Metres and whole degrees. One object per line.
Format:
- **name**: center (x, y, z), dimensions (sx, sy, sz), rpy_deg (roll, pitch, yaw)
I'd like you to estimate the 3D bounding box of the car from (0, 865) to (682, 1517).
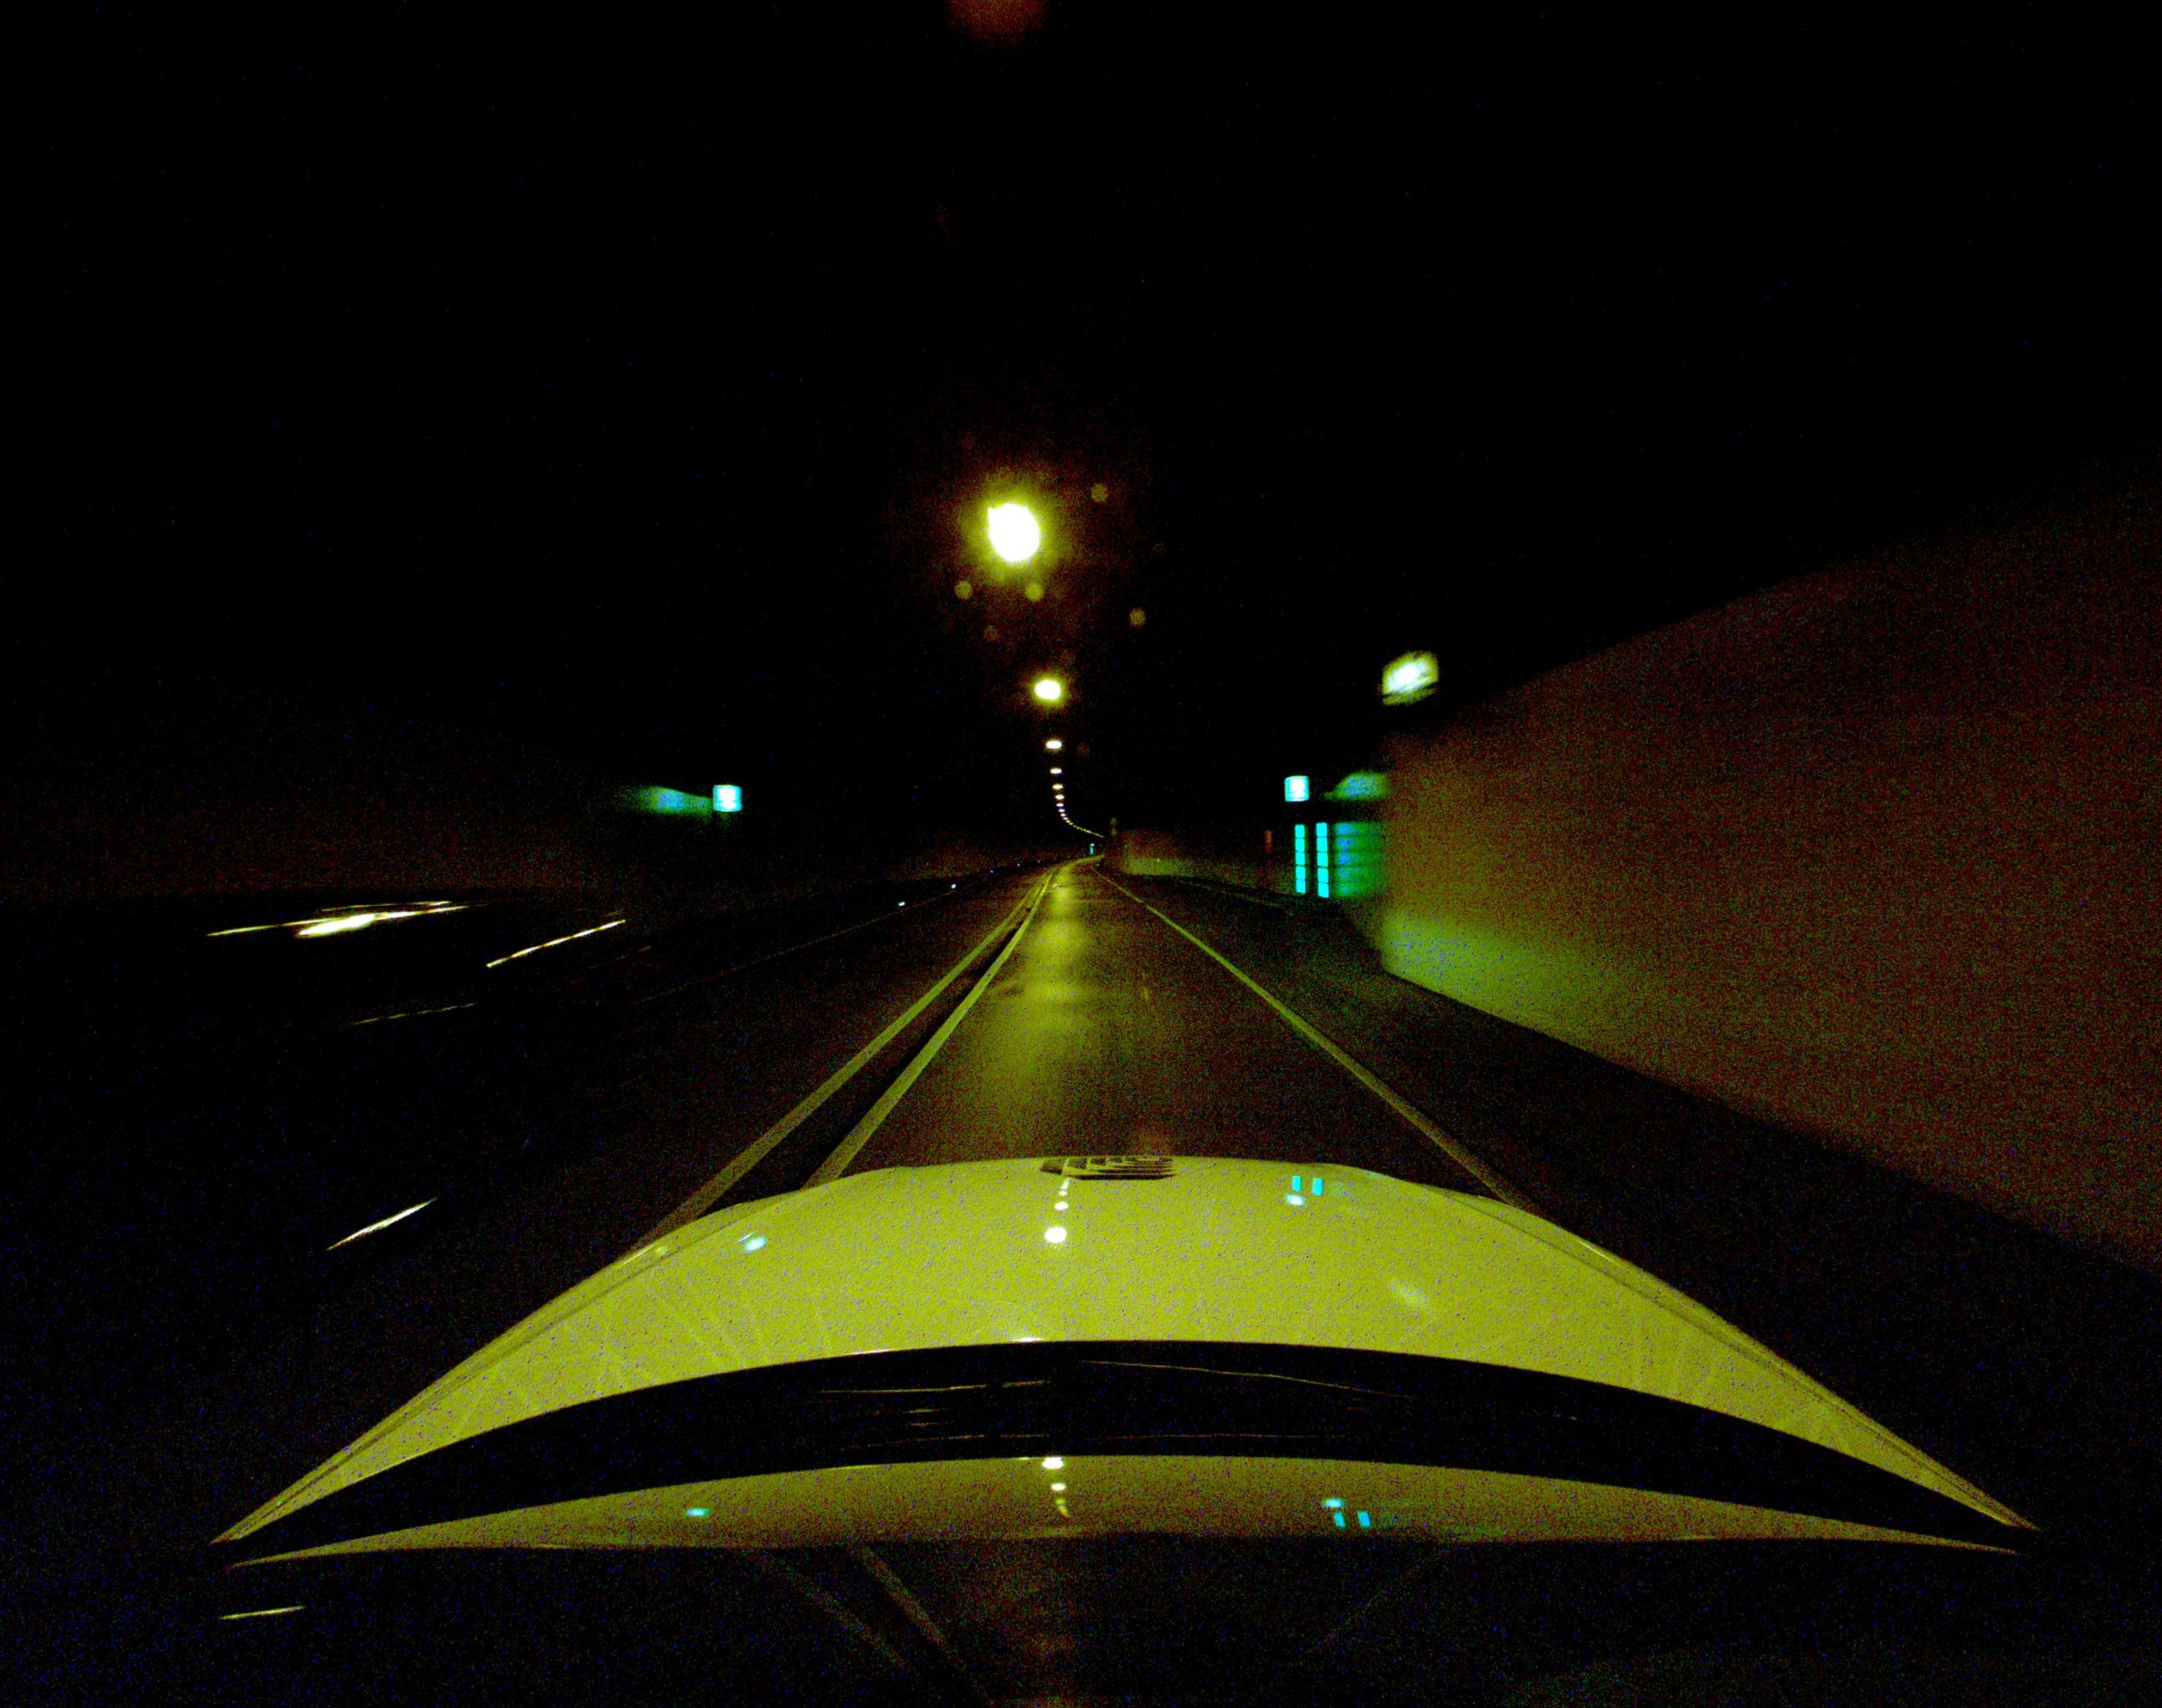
- **car**: center (-3.347, 0.842, 2.915), dimensions (1.701, 1.416, 4.118), rpy_deg (-3, 1, 1)
